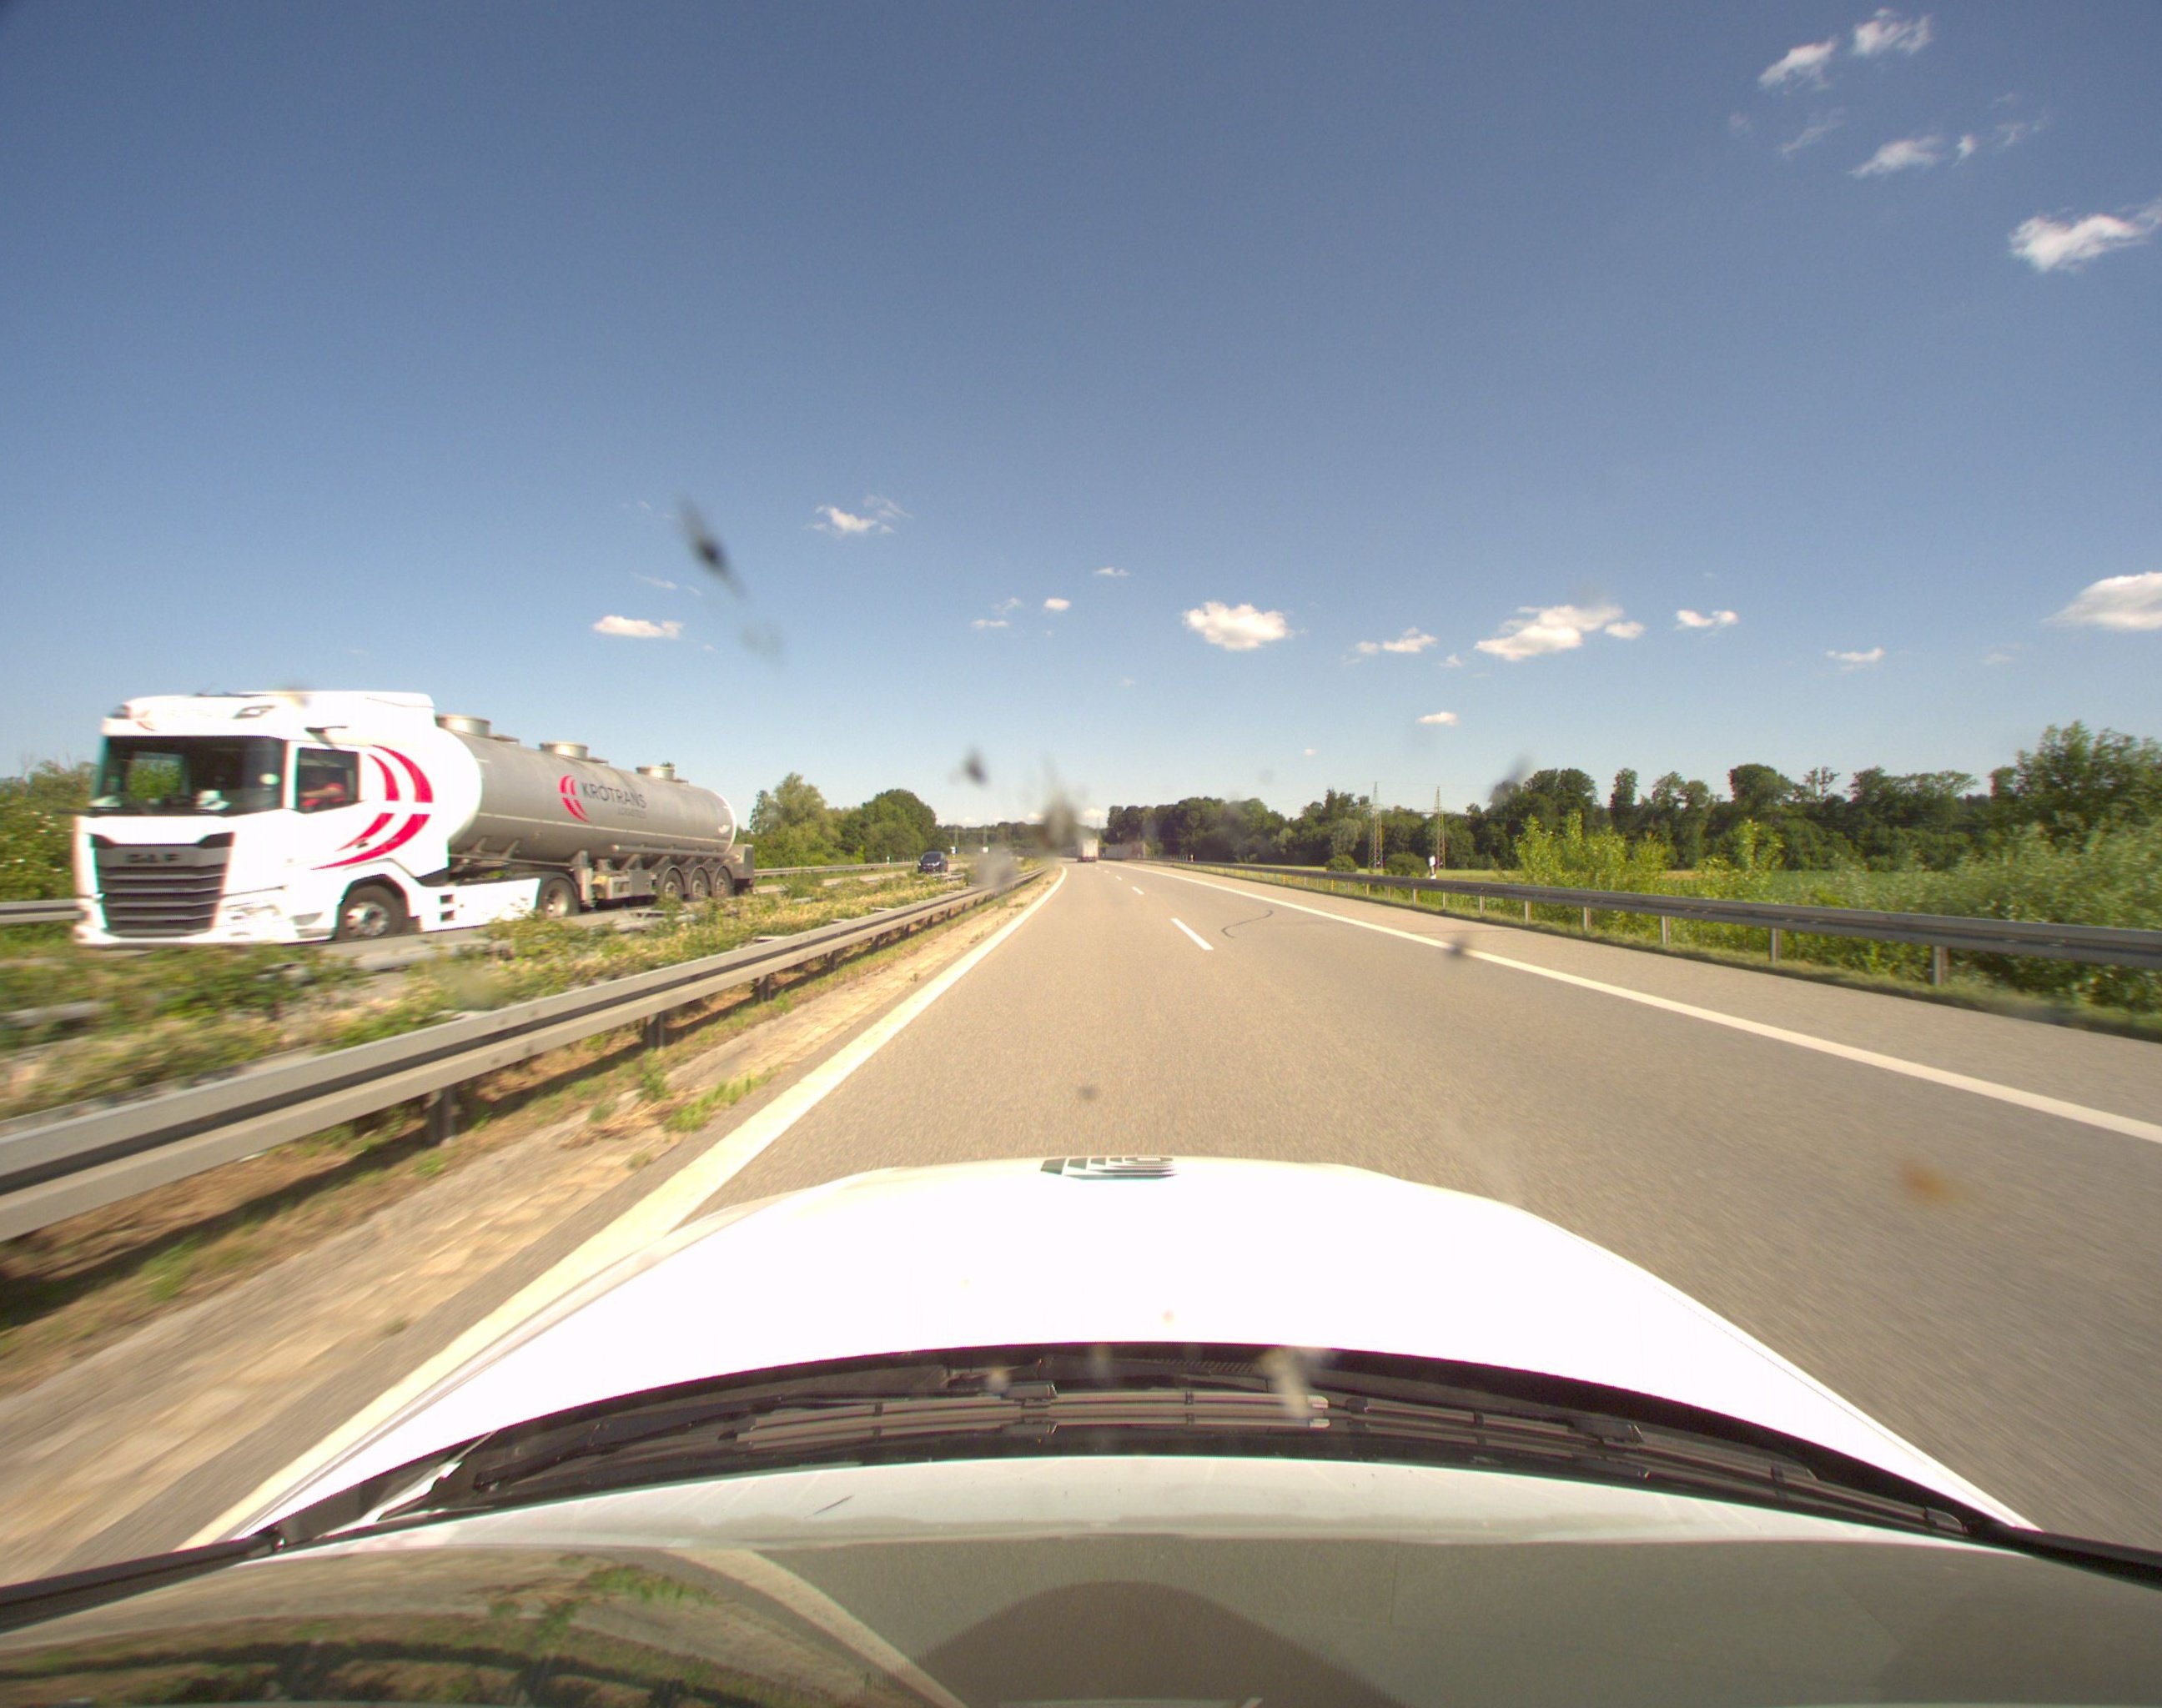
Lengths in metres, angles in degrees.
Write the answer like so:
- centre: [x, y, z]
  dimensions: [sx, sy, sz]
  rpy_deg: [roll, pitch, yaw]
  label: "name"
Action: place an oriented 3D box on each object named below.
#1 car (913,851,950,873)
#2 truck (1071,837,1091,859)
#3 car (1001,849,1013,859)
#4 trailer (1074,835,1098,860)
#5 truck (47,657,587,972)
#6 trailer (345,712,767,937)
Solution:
- centre: [-11.282, 0.582, 61.590]
  dimensions: [1.988, 1.554, 4.418]
  rpy_deg: [-2, 0, -1]
  label: "car"
- centre: [0.017, -1.092, 149.674]
  dimensions: [2.828, 4.012, 6.570]
  rpy_deg: [-1, 0, -7]
  label: "truck"
- centre: [-13.425, -0.037, 147.432]
  dimensions: [1.990, 1.679, 5.310]
  rpy_deg: [-2, 0, -4]
  label: "car"
- centre: [0.729, -1.073, 142.769]
  dimensions: [2.880, 4.066, 12.394]
  rpy_deg: [-1, 0, -6]
  label: "trailer"
- centre: [-11.004, -0.483, 12.780]
  dimensions: [2.732, 3.727, 5.971]
  rpy_deg: [-1, 0, 0]
  label: "truck"
- centre: [-10.942, -0.508, 19.176]
  dimensions: [2.732, 3.727, 10.912]
  rpy_deg: [-1, 0, 0]
  label: "trailer"
